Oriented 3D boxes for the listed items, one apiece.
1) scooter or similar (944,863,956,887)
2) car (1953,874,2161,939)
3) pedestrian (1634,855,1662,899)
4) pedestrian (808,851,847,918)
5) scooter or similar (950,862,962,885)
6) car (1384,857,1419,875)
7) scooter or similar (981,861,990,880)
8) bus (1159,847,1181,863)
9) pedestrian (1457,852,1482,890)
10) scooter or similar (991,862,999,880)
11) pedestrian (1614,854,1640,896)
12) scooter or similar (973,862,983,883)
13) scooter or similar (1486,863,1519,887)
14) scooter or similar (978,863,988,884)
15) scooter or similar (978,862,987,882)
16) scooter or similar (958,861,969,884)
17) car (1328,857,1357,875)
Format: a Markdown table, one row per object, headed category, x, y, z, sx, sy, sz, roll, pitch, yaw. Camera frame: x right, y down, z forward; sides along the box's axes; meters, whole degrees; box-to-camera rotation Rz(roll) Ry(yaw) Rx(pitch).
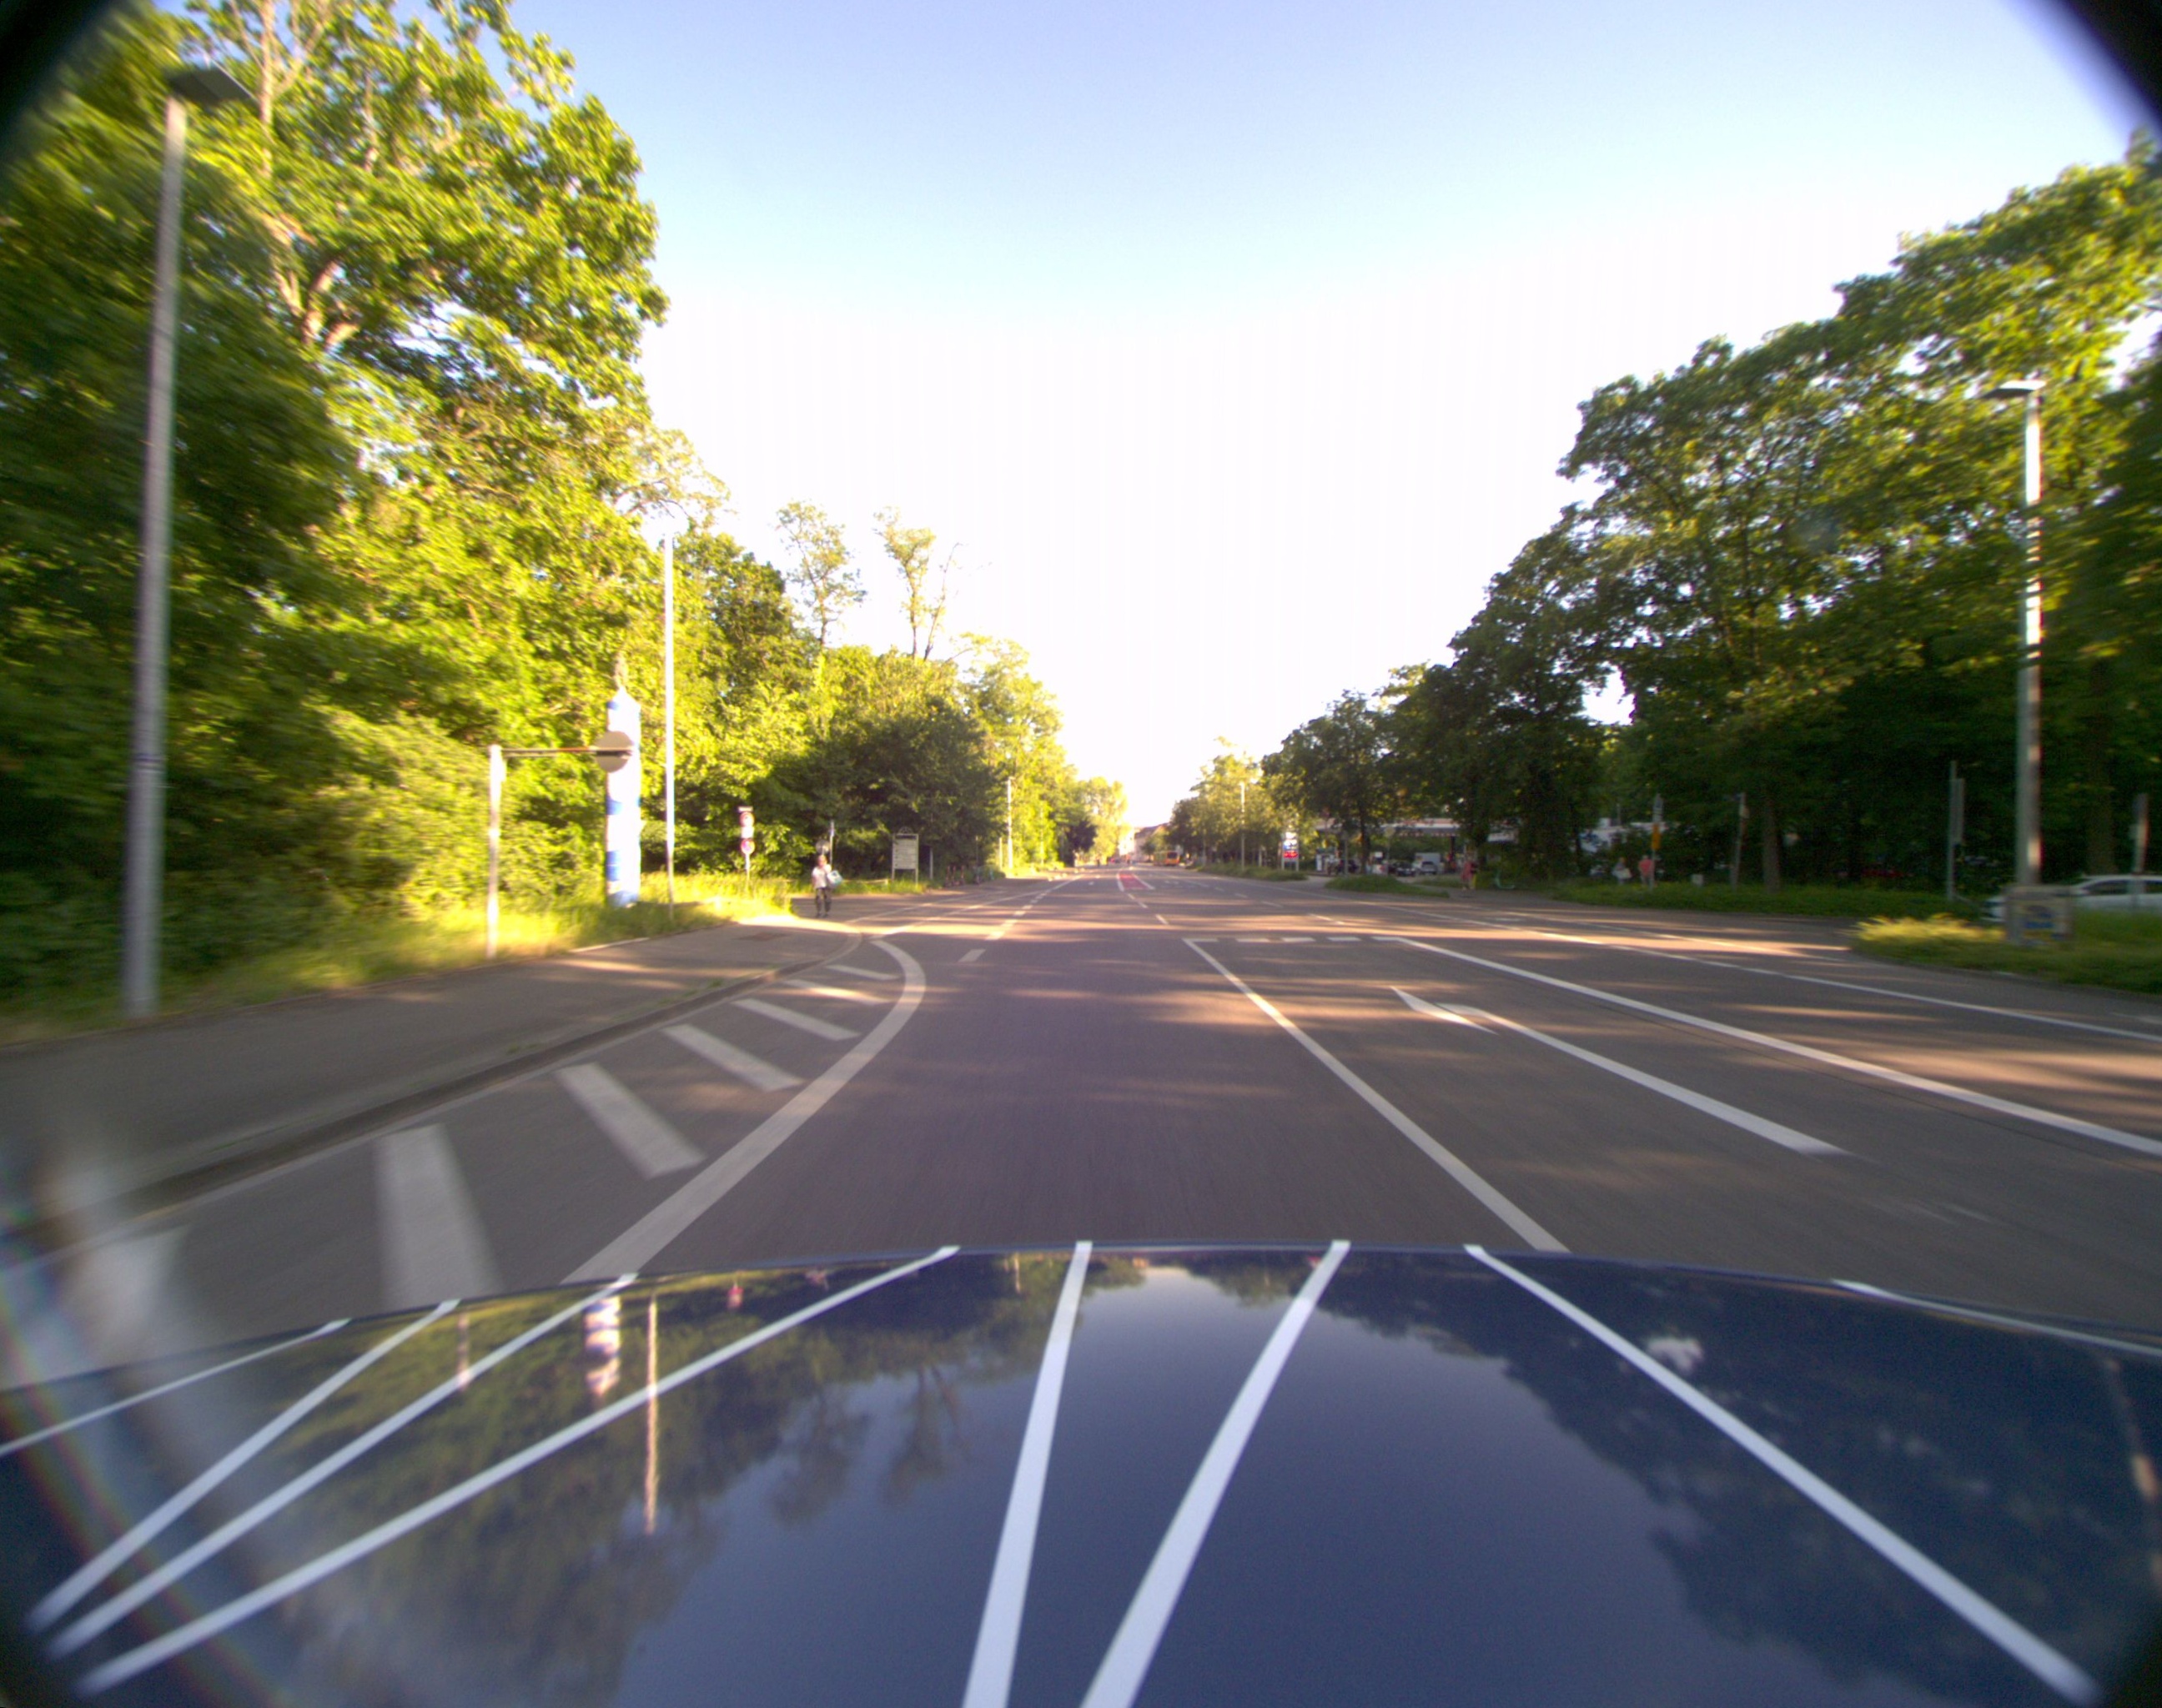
| category | x | y | z | sx | sy | sz | roll | pitch | yaw |
| --- | --- | --- | --- | --- | --- | --- | --- | --- | --- |
| scooter or similar | -6.508 | 1.021 | 37.804 | 0.386 | 1.177 | 1.188 | 0 | 0 | 2 |
| car | 26.241 | 1.342 | 20.031 | 3.932 | 1.517 | 1.835 | 1 | 0 | 34 |
| pedestrian | 23.494 | 0.949 | 31.501 | 0.832 | 1.809 | 0.738 | 1 | 1 | 31 |
| pedestrian | -6.820 | 0.809 | 20.489 | 0.809 | 1.789 | 0.734 | 0 | 1 | 1 |
| scooter or similar | -6.498 | 1.011 | 39.513 | 0.386 | 1.177 | 1.103 | 0 | 0 | 2 |
| car | 29.560 | 1.082 | 70.124 | 1.758 | 1.631 | 3.838 | 0 | 0 | 3 |
| scooter or similar | -6.017 | 1.048 | 47.815 | 0.386 | 1.177 | 1.103 | 0 | 0 | 2 |
| bus | 19.516 | 0.130 | 166.964 | 3.038 | 3.388 | 9.478 | 0 | 0 | -3 |
| pedestrian | 19.013 | 0.809 | 37.179 | 0.738 | 1.809 | 0.832 | 0 | 1 | -35 |
| scooter or similar | -5.646 | 1.123 | 49.763 | 0.386 | 1.177 | 1.103 | 0 | 0 | 2 |
| pedestrian | 23.459 | 0.890 | 32.645 | 0.832 | 1.809 | 0.738 | 1 | 1 | 31 |
| scooter or similar | -5.982 | 1.073 | 44.240 | 0.386 | 1.177 | 1.103 | 0 | 0 | 2 |
| scooter or similar | 20.459 | 1.005 | 36.899 | 0.465 | 1.125 | 1.342 | 0 | 0 | -24 |
| scooter or similar | -5.523 | 1.076 | 42.667 | 0.386 | 1.177 | 1.103 | 0 | 0 | 2 |
| scooter or similar | -5.993 | 1.062 | 46.174 | 0.386 | 1.177 | 1.103 | 0 | 0 | 2 |
| scooter or similar | -6.274 | 0.995 | 40.707 | 0.386 | 1.177 | 1.103 | 0 | 0 | 2 |
| car | 25.834 | 1.177 | 75.215 | 1.758 | 1.631 | 3.613 | 0 | 0 | 3 |
